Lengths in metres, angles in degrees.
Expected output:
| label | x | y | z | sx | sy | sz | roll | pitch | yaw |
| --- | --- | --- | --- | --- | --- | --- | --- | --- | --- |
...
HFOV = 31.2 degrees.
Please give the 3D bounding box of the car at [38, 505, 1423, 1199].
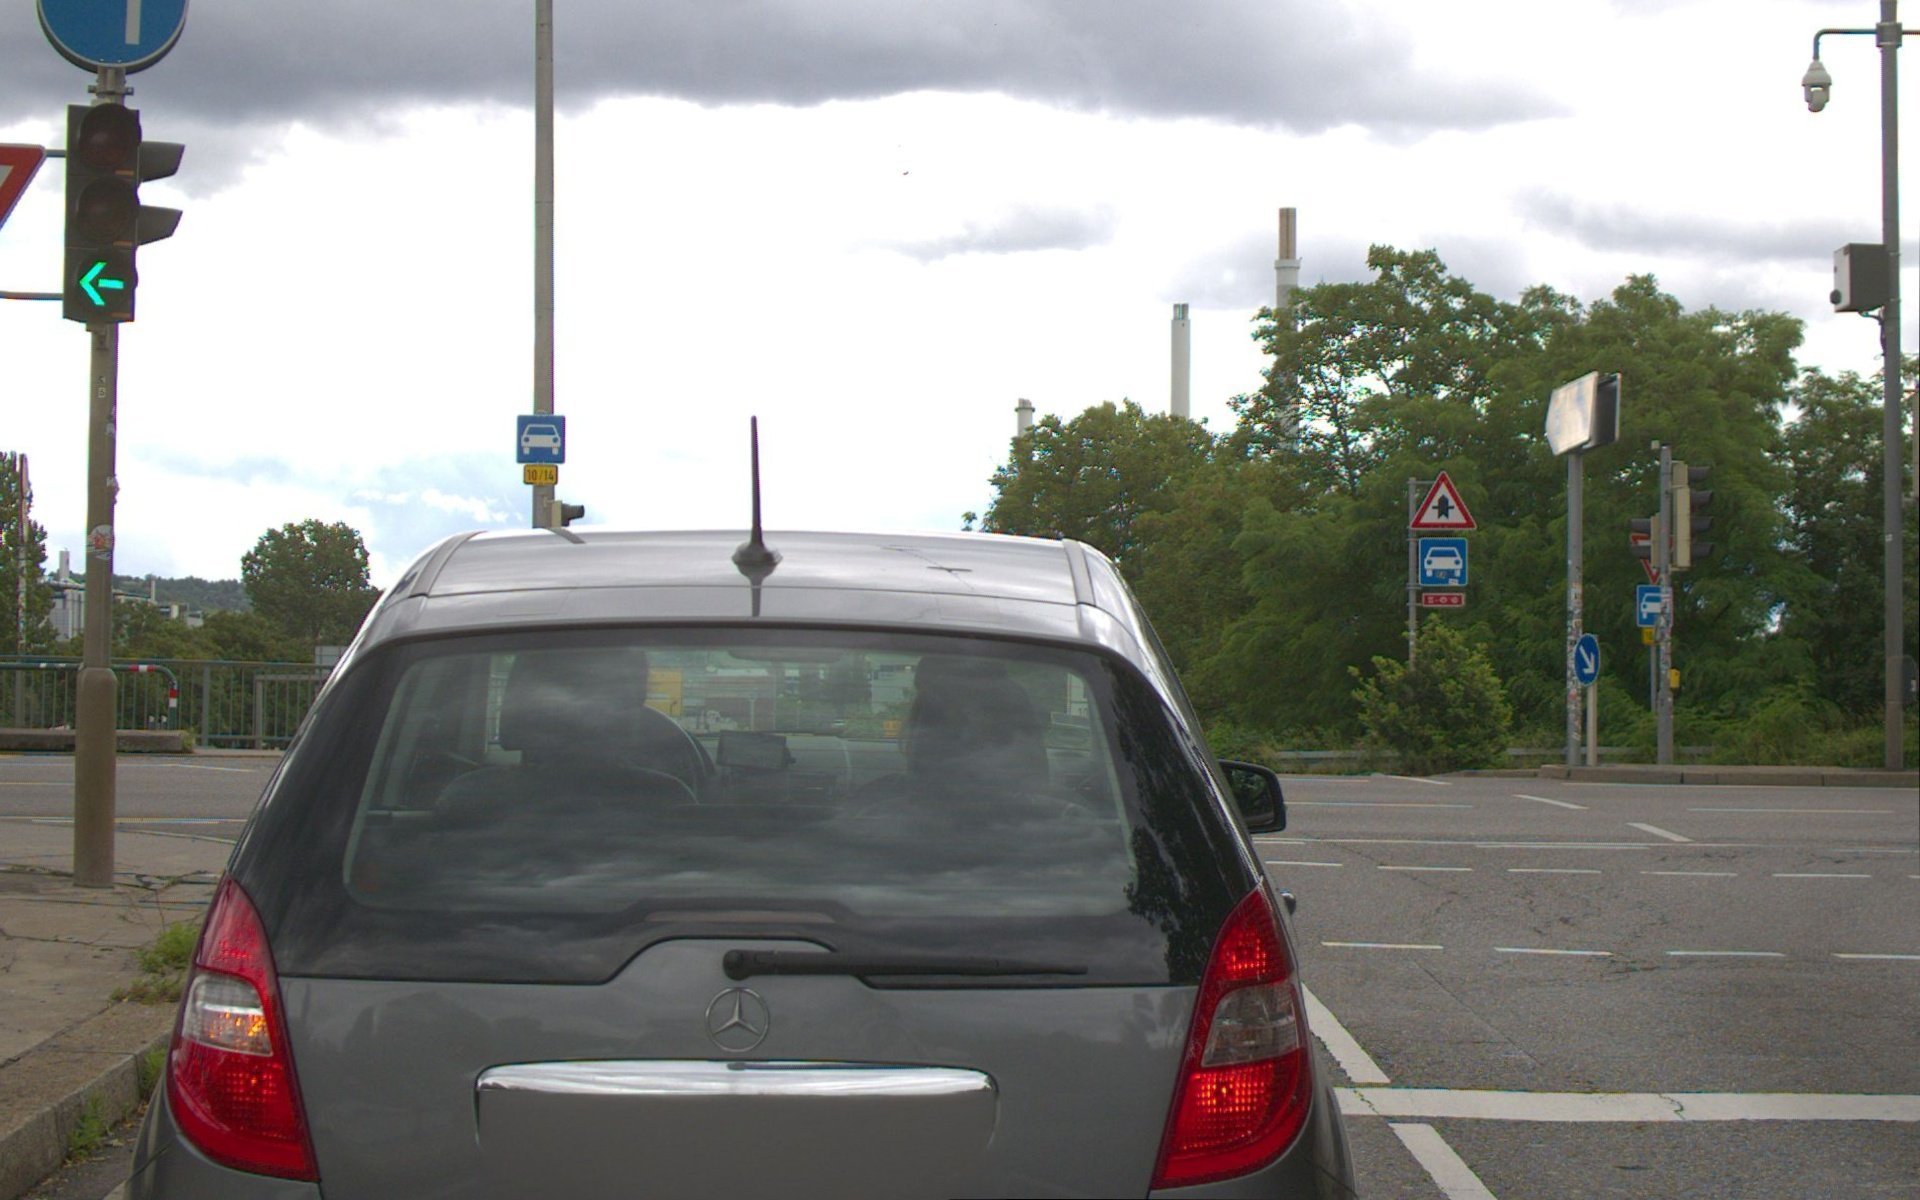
| label | x | y | z | sx | sy | sz | roll | pitch | yaw |
| --- | --- | --- | --- | --- | --- | --- | --- | --- | --- |
| car | -0.310 | 0.644 | 6.115 | 1.739 | 1.538 | 3.541 | 1 | 1 | -1 |
